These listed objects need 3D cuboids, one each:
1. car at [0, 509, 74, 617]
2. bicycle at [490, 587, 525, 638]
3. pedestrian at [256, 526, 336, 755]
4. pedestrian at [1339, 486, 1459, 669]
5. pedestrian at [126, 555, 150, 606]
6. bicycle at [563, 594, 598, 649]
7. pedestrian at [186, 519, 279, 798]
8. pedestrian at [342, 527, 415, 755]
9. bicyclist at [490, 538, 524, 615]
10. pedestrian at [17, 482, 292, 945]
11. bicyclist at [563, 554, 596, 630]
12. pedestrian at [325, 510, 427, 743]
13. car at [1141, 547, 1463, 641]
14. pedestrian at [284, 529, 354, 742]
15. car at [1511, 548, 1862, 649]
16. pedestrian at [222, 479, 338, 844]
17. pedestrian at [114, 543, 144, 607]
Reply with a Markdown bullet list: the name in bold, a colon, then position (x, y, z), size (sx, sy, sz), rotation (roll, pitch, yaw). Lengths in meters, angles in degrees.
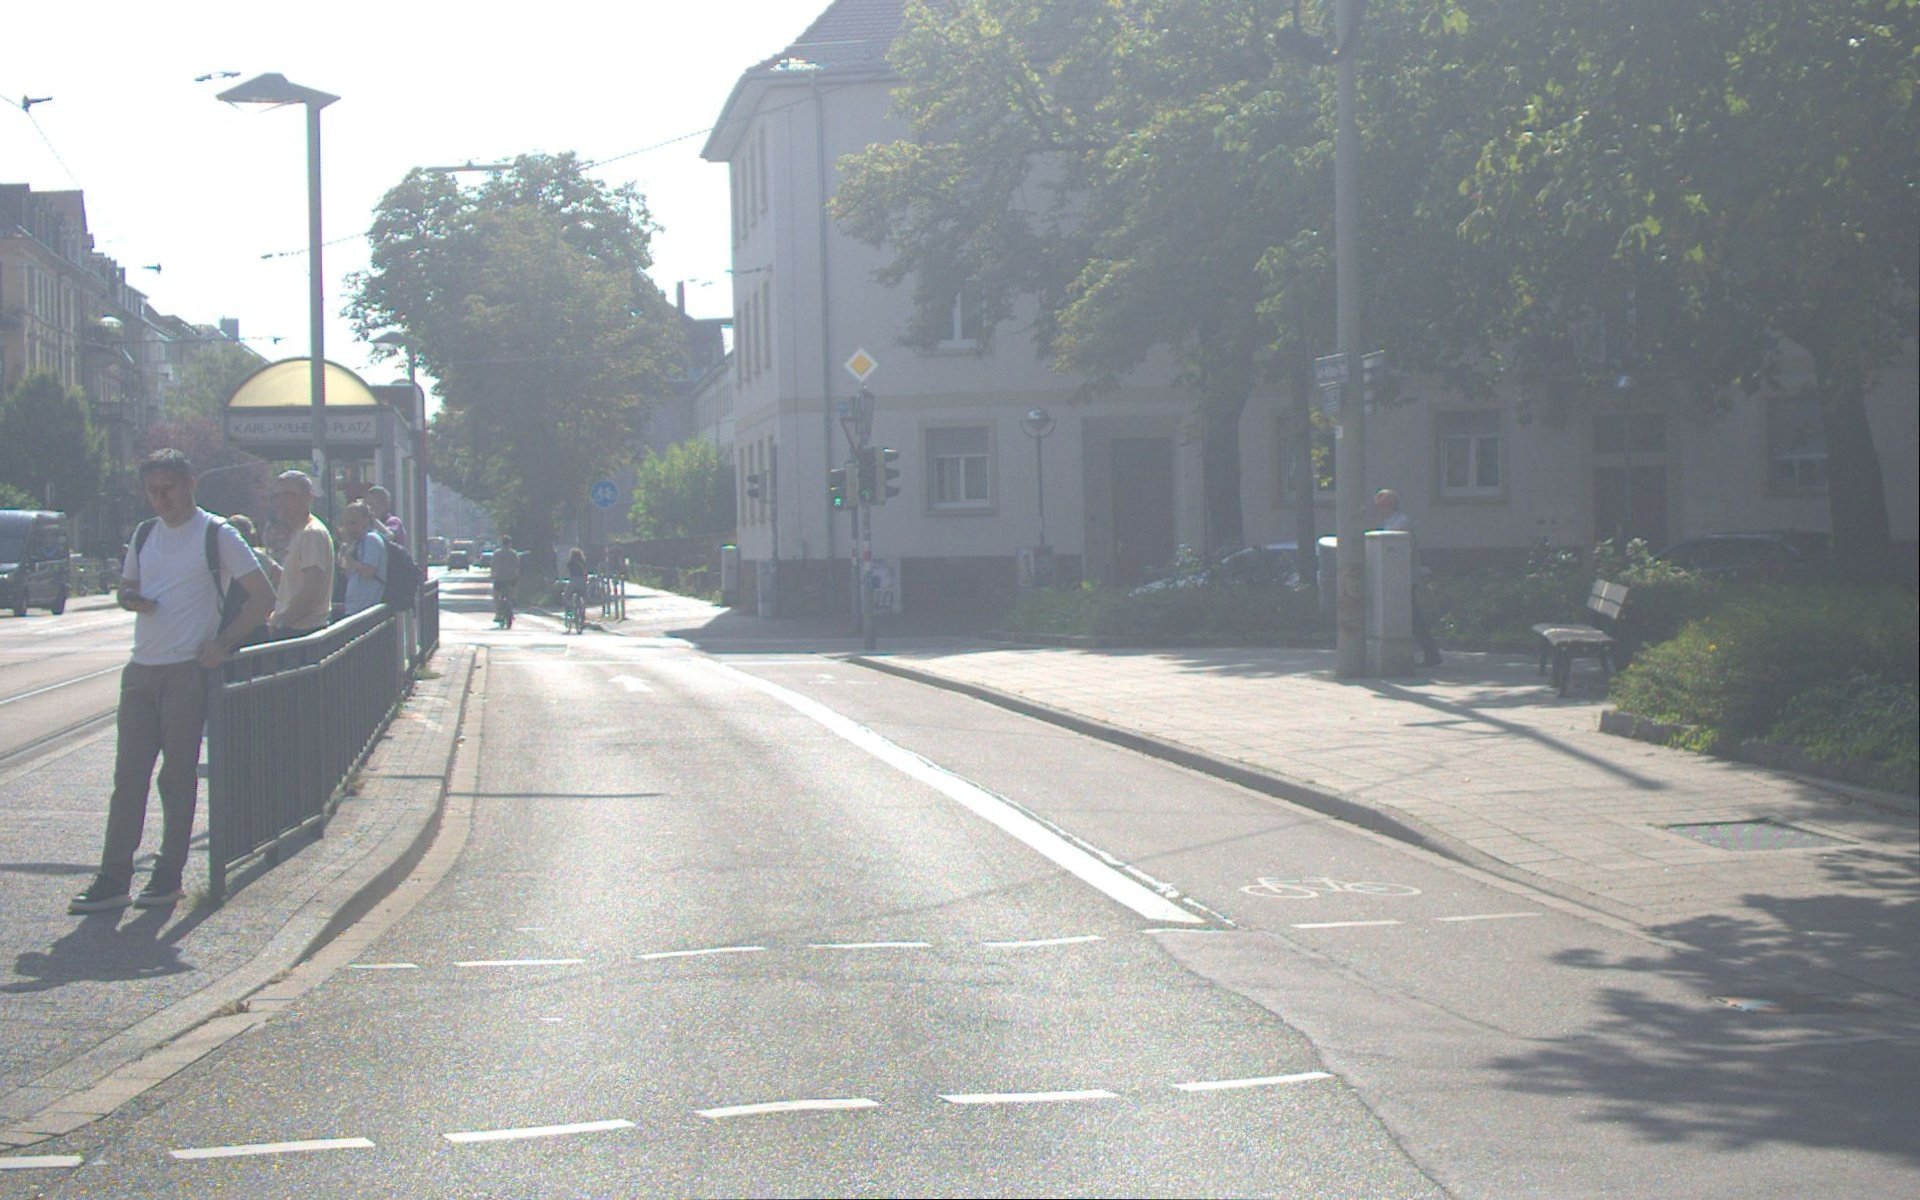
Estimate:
- **car**: position (-24.310, -0.949, 87.579), size (2.347, 2.653, 5.105), rotation (-1, 1, -3)
- **bicycle**: position (-8.977, 0.242, 68.132), size (0.628, 0.974, 1.771), rotation (-1, 1, -8)
- **pedestrian**: position (-5.222, 0.312, 27.050), size (0.543, 1.753, 0.534), rotation (1, 3, -7)
- **pedestrian**: position (4.232, -0.222, 33.100), size (0.892, 1.734, 0.775), rotation (0, 1, 30)
- **pedestrian**: position (-28.009, -0.667, 117.171), size (0.749, 1.725, 0.772), rotation (-1, 1, -16)
- **bicycle**: position (-7.168, 0.393, 64.849), size (0.558, 0.974, 1.857), rotation (-1, 1, -8)
- **pedestrian**: position (-4.709, 0.371, 22.259), size (0.504, 1.753, 0.534), rotation (1, 3, -7)
- **pedestrian**: position (-4.583, 0.317, 27.118), size (0.504, 1.753, 0.534), rotation (1, 3, -7)
- **bicyclist**: position (-8.983, -0.465, 68.119), size (0.628, 1.502, 0.679), rotation (-1, 1, -8)
- **pedestrian**: position (-3.136, 0.412, 13.407), size (0.701, 1.719, 0.747), rotation (3, 3, 26)
- **bicyclist**: position (-7.186, -0.157, 64.853), size (0.558, 1.412, 0.872), rotation (-1, 1, -8)
- **pedestrian**: position (-4.498, 0.199, 26.504), size (0.708, 1.753, 0.534), rotation (1, 3, -7)
- **car**: position (5.075, -0.087, 51.142), size (4.330, 1.316, 1.996), rotation (0, 1, 32)
- **pedestrian**: position (-5.413, 0.291, 29.040), size (0.504, 1.753, 0.534), rotation (1, 3, -7)
- **car**: position (10.051, -0.030, 47.717), size (4.332, 1.316, 1.995), rotation (0, 1, 40)
- **pedestrian**: position (-3.489, 0.306, 17.660), size (0.504, 1.827, 0.534), rotation (1, 3, -7)
- **pedestrian**: position (-22.576, -0.672, 93.407), size (0.749, 1.725, 0.772), rotation (-1, 1, -16)
